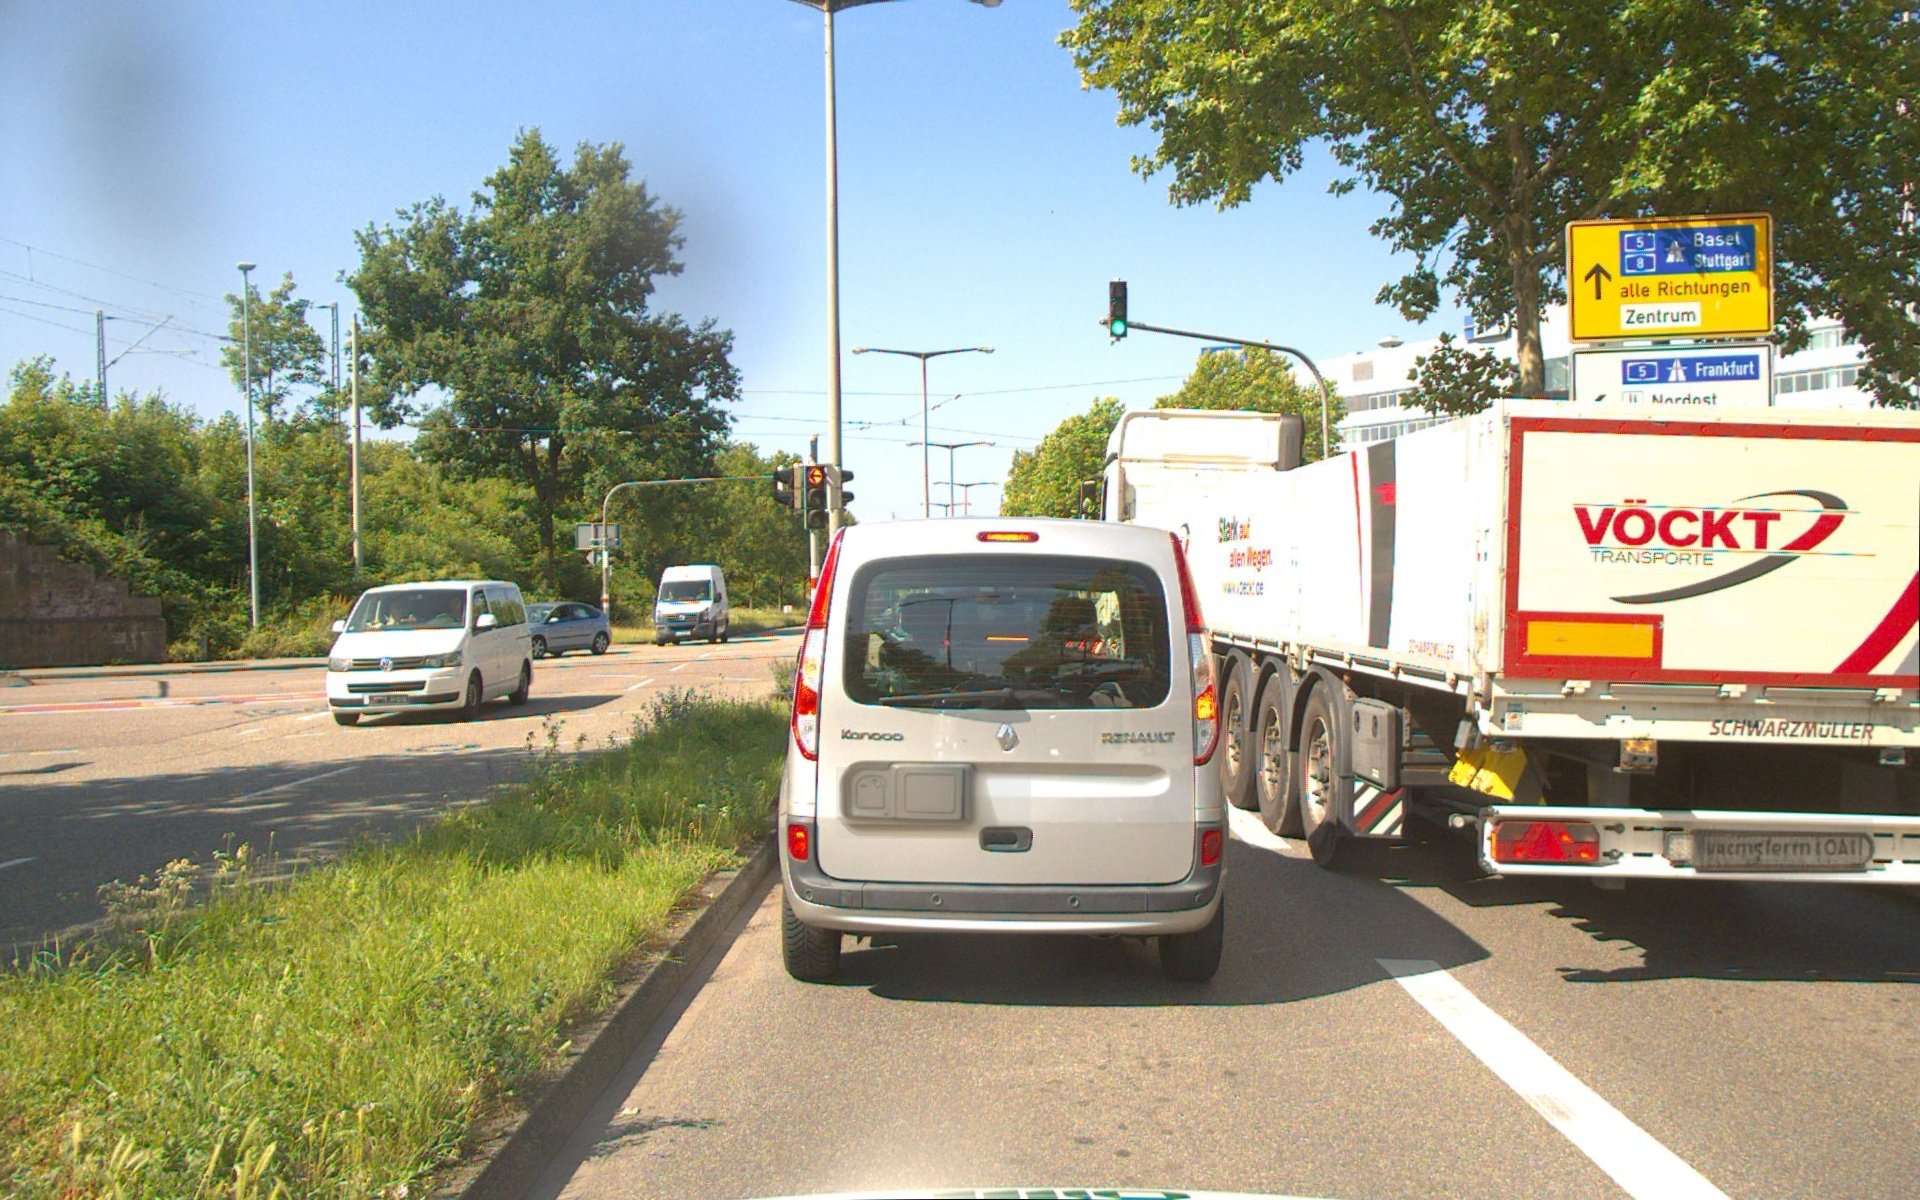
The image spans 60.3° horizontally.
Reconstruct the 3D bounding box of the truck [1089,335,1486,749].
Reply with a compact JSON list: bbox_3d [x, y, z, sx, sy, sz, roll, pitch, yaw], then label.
[{"bbox_3d":[3.333,-0.530,19.081,3.009,3.823,7.474,0,0,-1],"label":"truck"}]

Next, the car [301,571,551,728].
[{"bbox_3d":[-7.496,0.641,23.807,1.953,1.924,4.987,-3,0,-1],"label":"car"}]

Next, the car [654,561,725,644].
[{"bbox_3d":[-9.112,0.094,56.168,2.019,2.660,5.862,0,0,-6],"label":"car"}]

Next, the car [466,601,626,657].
[{"bbox_3d":[-11.181,0.761,44.956,1.874,1.433,4.221,0,0,28],"label":"car"}]

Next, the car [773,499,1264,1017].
[{"bbox_3d":[0.194,0.555,7.754,1.713,1.803,3.949,0,0,-1],"label":"car"}]

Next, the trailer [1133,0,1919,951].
[{"bbox_3d":[3.364,-0.629,12.106,2.954,3.806,12.239,0,0,0],"label":"trailer"}]
